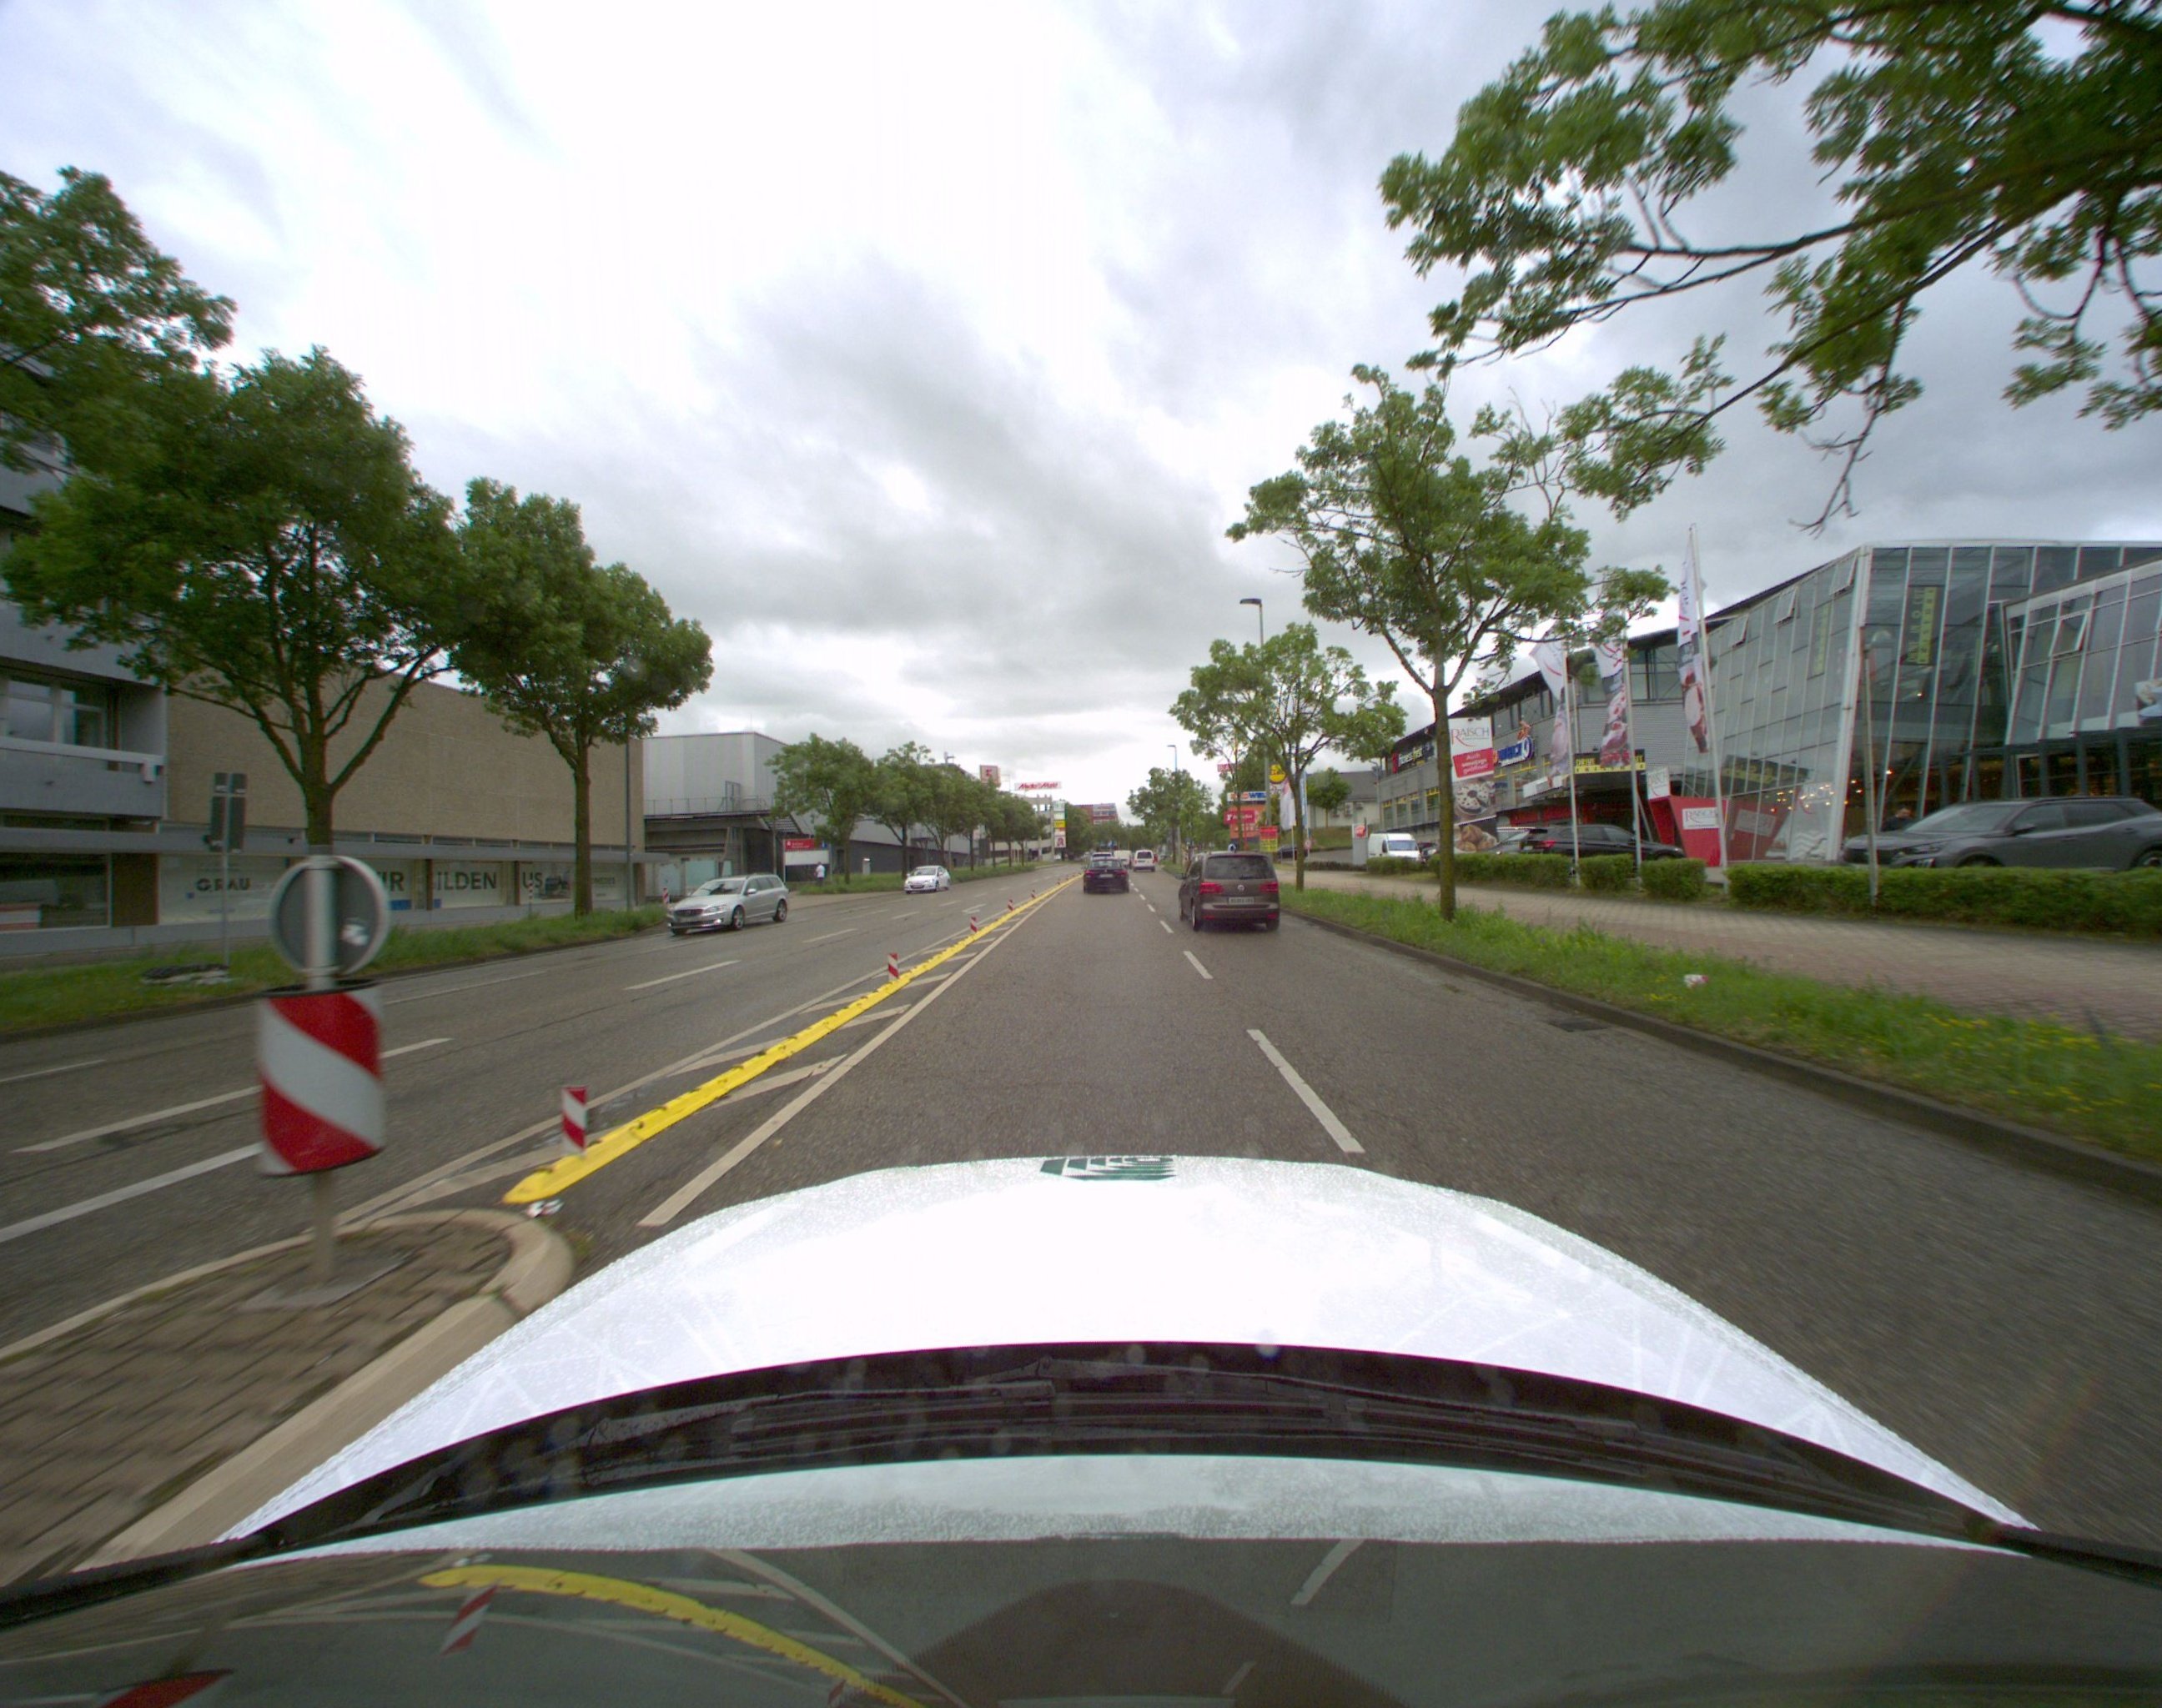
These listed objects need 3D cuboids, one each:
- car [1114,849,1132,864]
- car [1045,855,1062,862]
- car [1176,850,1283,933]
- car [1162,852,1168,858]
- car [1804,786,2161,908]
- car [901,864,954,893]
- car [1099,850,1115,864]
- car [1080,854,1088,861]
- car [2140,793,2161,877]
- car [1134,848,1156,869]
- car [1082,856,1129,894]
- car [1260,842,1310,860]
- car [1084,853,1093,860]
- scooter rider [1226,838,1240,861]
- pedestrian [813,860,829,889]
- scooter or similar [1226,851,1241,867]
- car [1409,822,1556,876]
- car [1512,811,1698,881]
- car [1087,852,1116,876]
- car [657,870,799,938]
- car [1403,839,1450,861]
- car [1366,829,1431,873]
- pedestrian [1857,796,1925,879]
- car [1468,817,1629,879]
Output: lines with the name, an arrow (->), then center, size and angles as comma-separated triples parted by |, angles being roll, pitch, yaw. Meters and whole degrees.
car -> 4.209, 0.268, 81.032 | 1.786, 1.510, 4.003 | 0, -1, 3
car -> -7.425, 1.119, 221.576 | 4.582, 1.745, 1.968 | -1, 1, 1
car -> 3.099, 0.715, 17.743 | 1.679, 1.581, 4.220 | -1, 0, 2
car -> 22.949, 0.240, 222.425 | 1.786, 1.510, 4.005 | 0, -1, 5
car -> 14.556, -0.120, 13.050 | 4.153, 1.473, 1.863 | -5, 0, 1
car -> -8.357, 1.311, 44.712 | 1.733, 1.406, 4.472 | -4, -1, 3
car -> 2.982, 0.372, 92.769 | 1.787, 1.510, 4.002 | 0, -1, 2
car -> 0.818, 0.899, 216.016 | 1.924, 1.609, 4.717 | -1, 0, 4
car -> 19.096, -0.344, 12.173 | 1.748, 1.445, 4.140 | -5, 1, 14
car -> 5.373, 0.356, 68.210 | 1.818, 1.759, 4.006 | -1, 0, 5
car -> 1.018, 0.822, 34.008 | 1.820, 1.468, 4.002 | 0, 0, 2
car -> 18.601, -0.267, 74.328 | 4.091, 1.438, 1.791 | -3, 2, -10
car -> 2.256, 0.701, 230.403 | 2.029, 1.762, 4.955 | -1, 1, 6
scooter rider -> 12.451, -0.338, 66.812 | 0.695, 1.820, 0.854 | -4, 0, -12
pedestrian -> -14.450, 1.116, 45.267 | 0.581, 1.583, 0.768 | 0, 0, 4
scooter or similar -> 12.516, 0.404, 66.793 | 0.695, 1.263, 1.395 | -4, 0, -12
car -> 15.264, -0.194, 31.216 | 4.624, 1.600, 1.933 | -5, 0, 12
car -> 15.245, -0.224, 23.875 | 4.148, 1.600, 1.803 | -5, 0, 5
car -> 1.379, 0.631, 52.715 | 1.787, 1.510, 4.002 | 0, -1, 2
car -> -10.053, 1.346, 23.667 | 1.733, 1.552, 4.786 | -4, 0, 3
car -> 27.246, -0.324, 64.135 | 3.893, 1.501, 1.720 | -4, 2, -37
car -> 19.347, -0.193, 49.925 | 2.217, 2.536, 5.688 | -1, 1, 5
pedestrian -> 17.955, -0.362, 18.072 | 0.629, 1.790, 0.851 | 0, -1, 1
car -> 15.366, -0.200, 26.952 | 4.148, 1.600, 1.831 | -5, 0, 5
